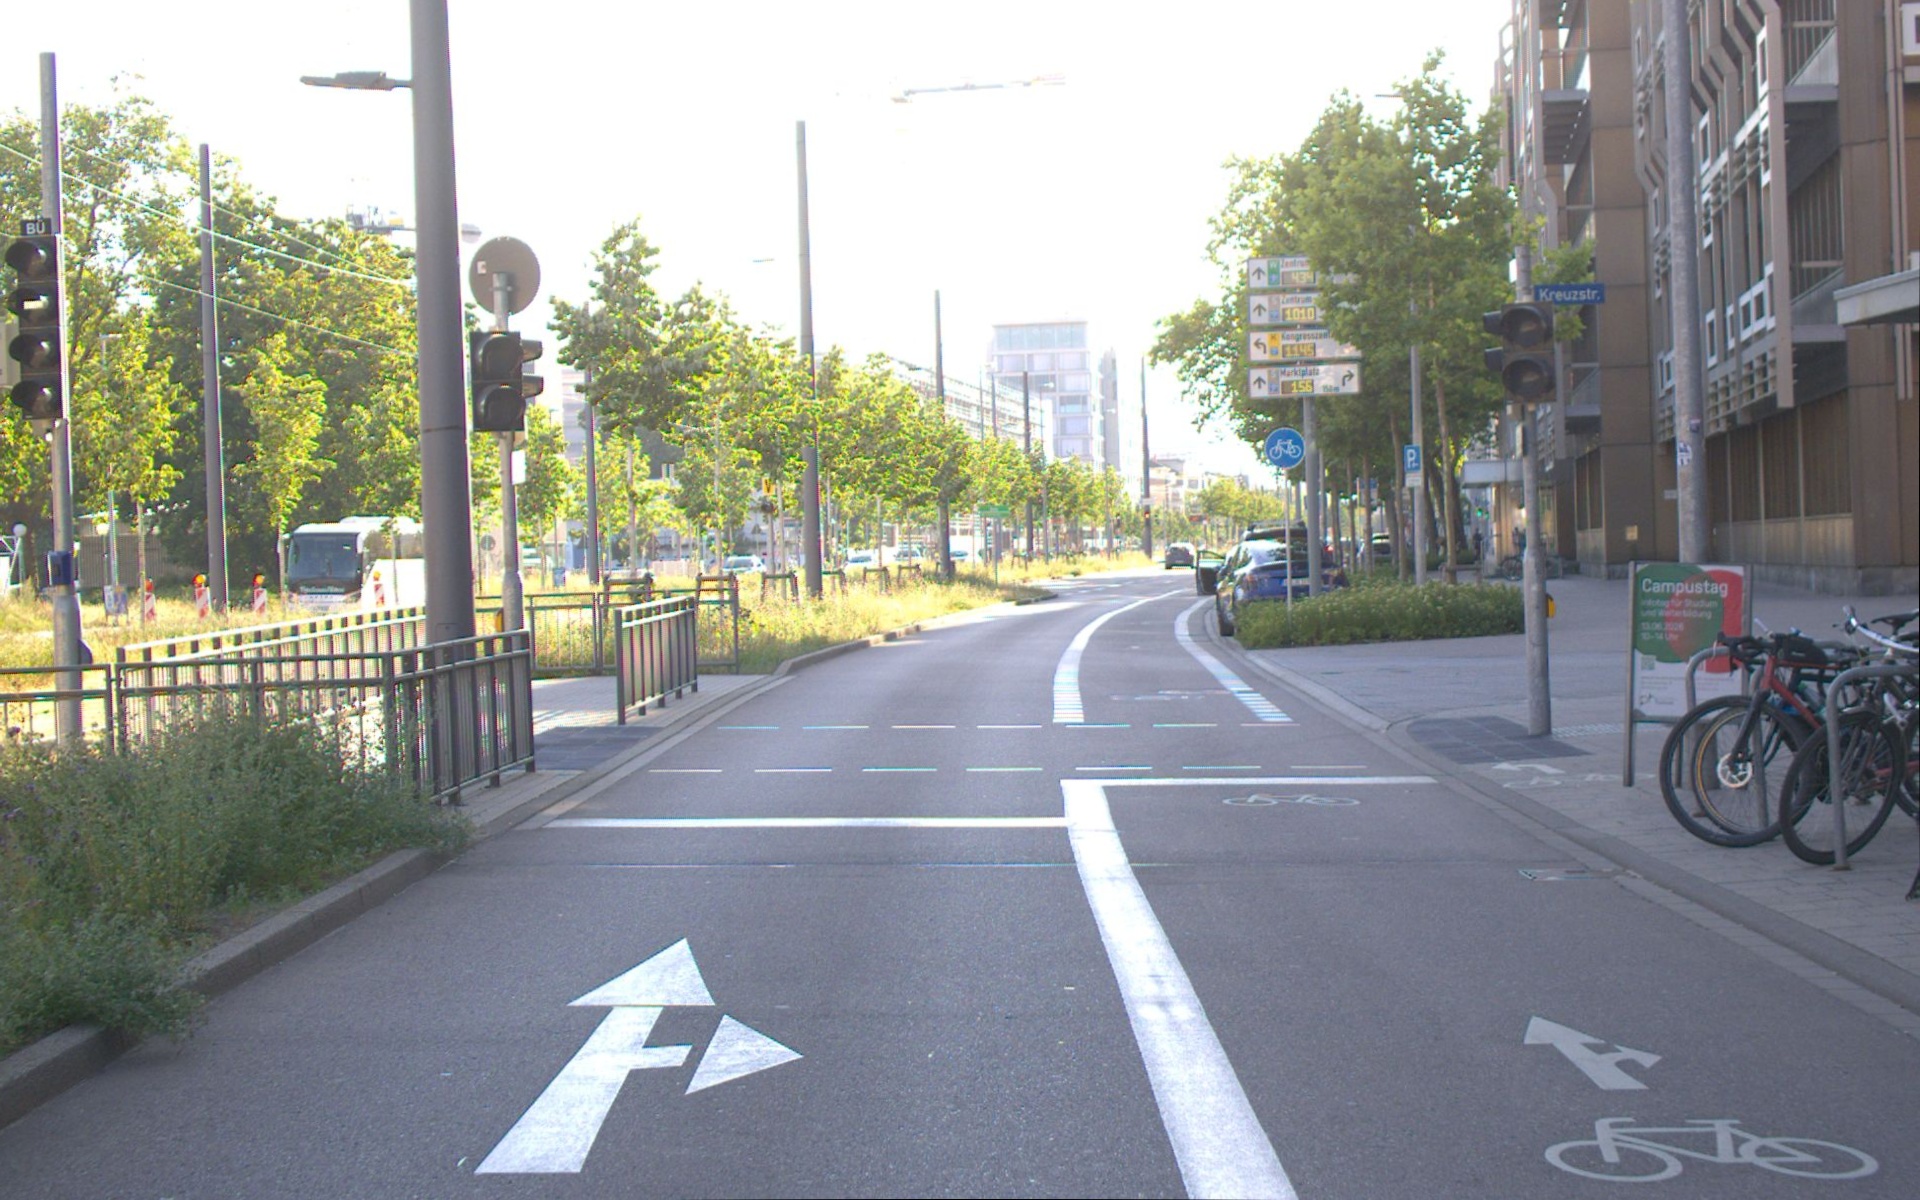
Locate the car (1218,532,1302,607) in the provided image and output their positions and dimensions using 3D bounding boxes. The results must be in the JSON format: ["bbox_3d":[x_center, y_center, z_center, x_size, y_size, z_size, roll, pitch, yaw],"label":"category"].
[{"bbox_3d":[6.583,-0.691,75.191,1.664,1.485,4.203,-3,1,6],"label":"car"}]

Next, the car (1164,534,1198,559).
[{"bbox_3d":[12.837,-3.127,199.622,1.777,1.423,3.999,0,1,6],"label":"car"}]

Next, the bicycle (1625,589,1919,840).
[{"bbox_3d":[4.160,0.536,16.599,1.754,1.100,0.507,-4,1,5],"label":"bicycle"}]

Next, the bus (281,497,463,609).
[{"bbox_3d":[-20.042,-1.656,118.167,2.799,3.582,12.696,-1,1,6],"label":"bus"}]

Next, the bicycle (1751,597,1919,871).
[{"bbox_3d":[4.333,0.533,14.726,1.722,1.100,0.507,-4,1,5],"label":"bicycle"}]

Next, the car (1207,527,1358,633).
[{"bbox_3d":[5.366,-0.361,57.724,1.931,1.593,4.699,-3,1,-1],"label":"car"}]

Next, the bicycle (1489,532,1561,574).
[{"bbox_3d":[15.681,-1.304,95.447,1.899,1.089,0.392,-3,0,1],"label":"bicycle"}]

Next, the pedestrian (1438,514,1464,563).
[{"bbox_3d":[16.791,-2.109,117.570,0.789,1.643,1.136,-2,1,6],"label":"pedestrian"}]

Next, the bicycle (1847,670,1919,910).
[{"bbox_3d":[4.149,0.695,13.283,1.275,0.874,0.507,-4,1,5],"label":"bicycle"}]

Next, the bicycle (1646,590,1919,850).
[{"bbox_3d":[4.146,0.536,16.008,1.754,1.100,0.507,-4,1,5],"label":"bicycle"}]

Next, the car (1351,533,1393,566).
[{"bbox_3d":[18.998,-2.327,158.432,1.707,1.413,4.275,-4,1,8],"label":"car"}]

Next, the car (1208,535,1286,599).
[{"bbox_3d":[7.224,-0.839,86.283,1.795,1.444,4.376,-3,1,6],"label":"car"}]

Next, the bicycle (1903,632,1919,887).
[{"bbox_3d":[4.220,0.608,11.630,1.844,1.101,0.566,-4,1,5],"label":"bicycle"}]

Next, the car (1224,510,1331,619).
[{"bbox_3d":[6.000,-0.693,65.336,1.735,1.912,4.393,-3,1,3],"label":"car"}]
